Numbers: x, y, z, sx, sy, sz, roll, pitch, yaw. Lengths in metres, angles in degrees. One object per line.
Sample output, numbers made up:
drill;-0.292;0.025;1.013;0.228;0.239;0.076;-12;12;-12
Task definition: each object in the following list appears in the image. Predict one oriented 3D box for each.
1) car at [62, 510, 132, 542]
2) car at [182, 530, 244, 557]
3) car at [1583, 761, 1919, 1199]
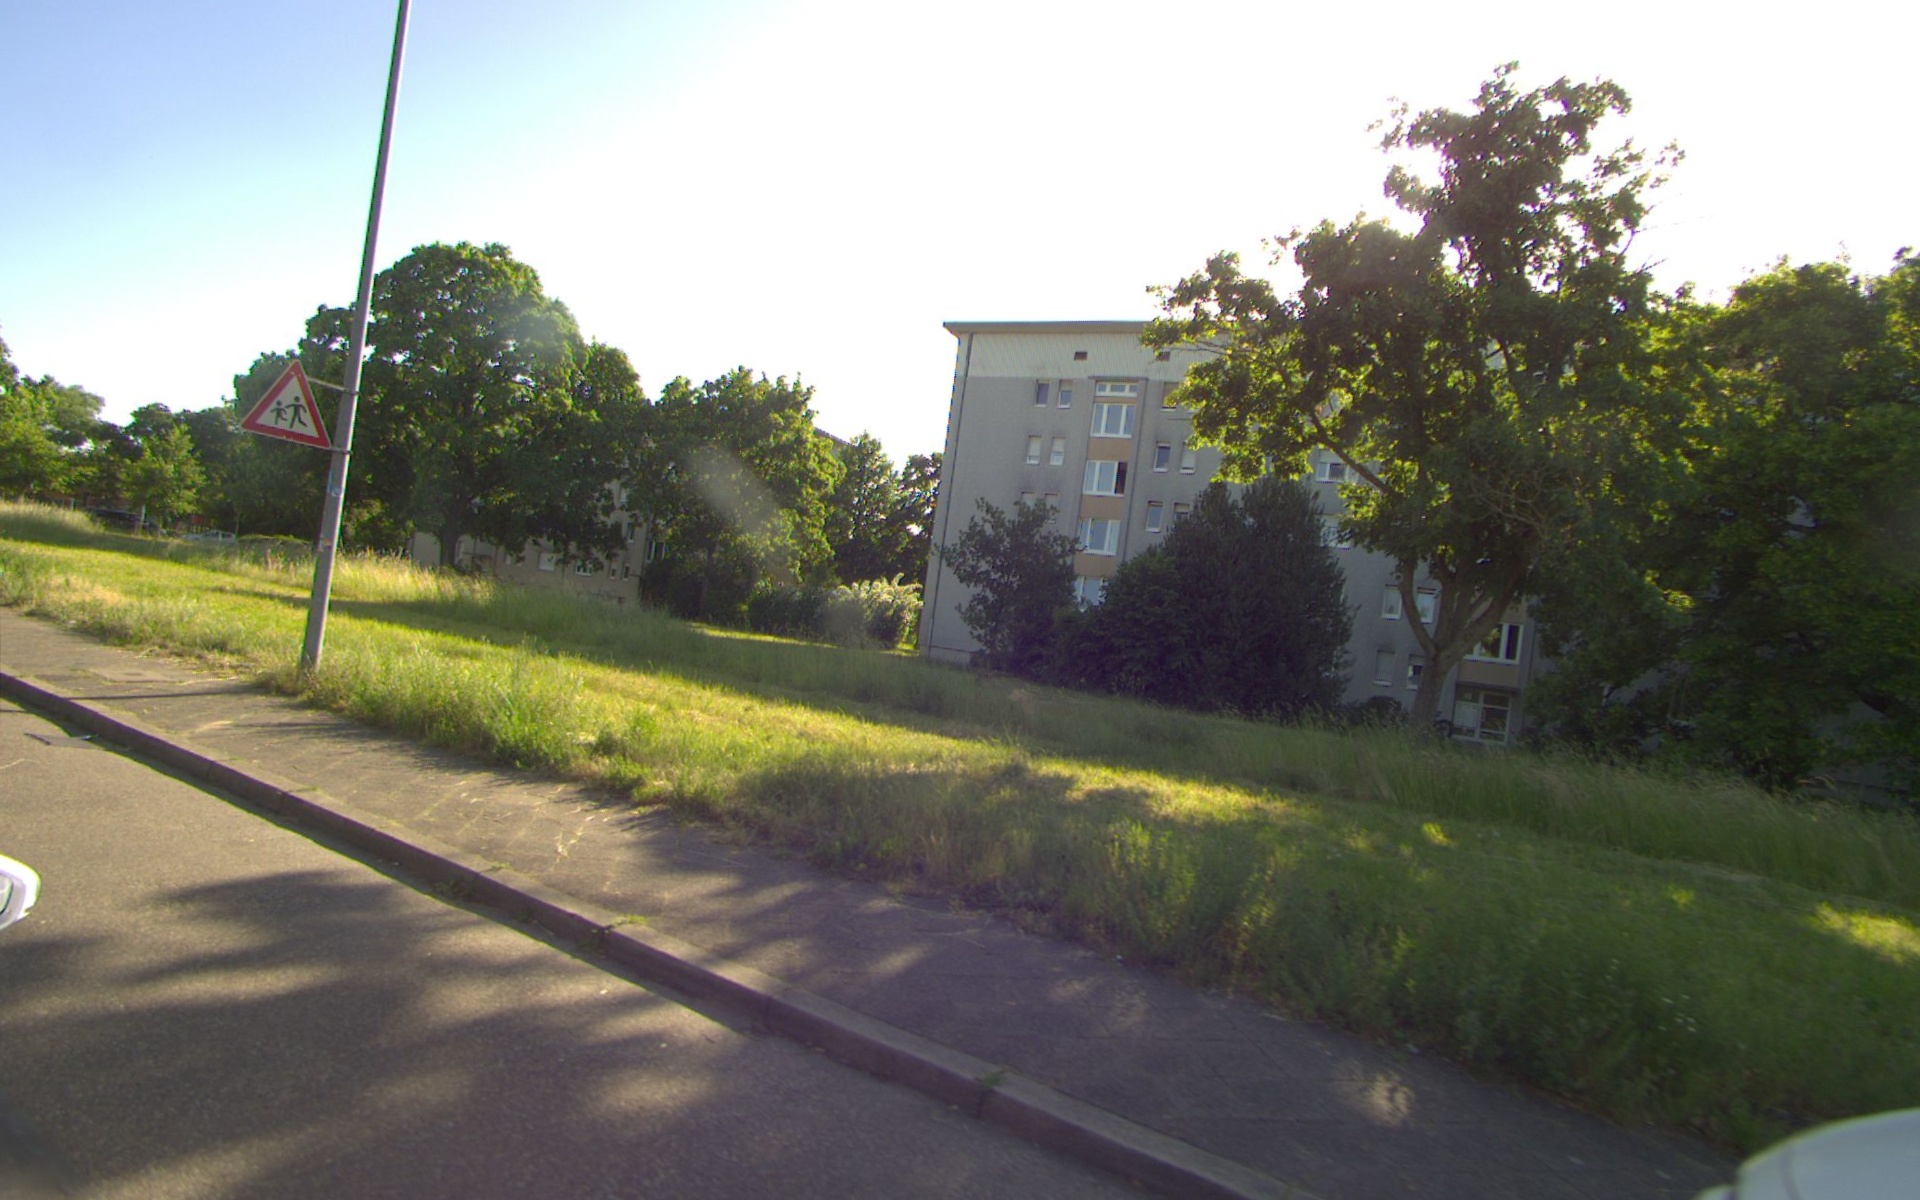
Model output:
car;-62.972;-5.363;73.429;3.693;1.636;1.680;9;-4;-43
car;-62.126;-4.662;83.704;1.676;1.636;3.700;4;-4;41
car;2.759;1.207;0.847;3.678;1.495;1.727;6;-4;31
